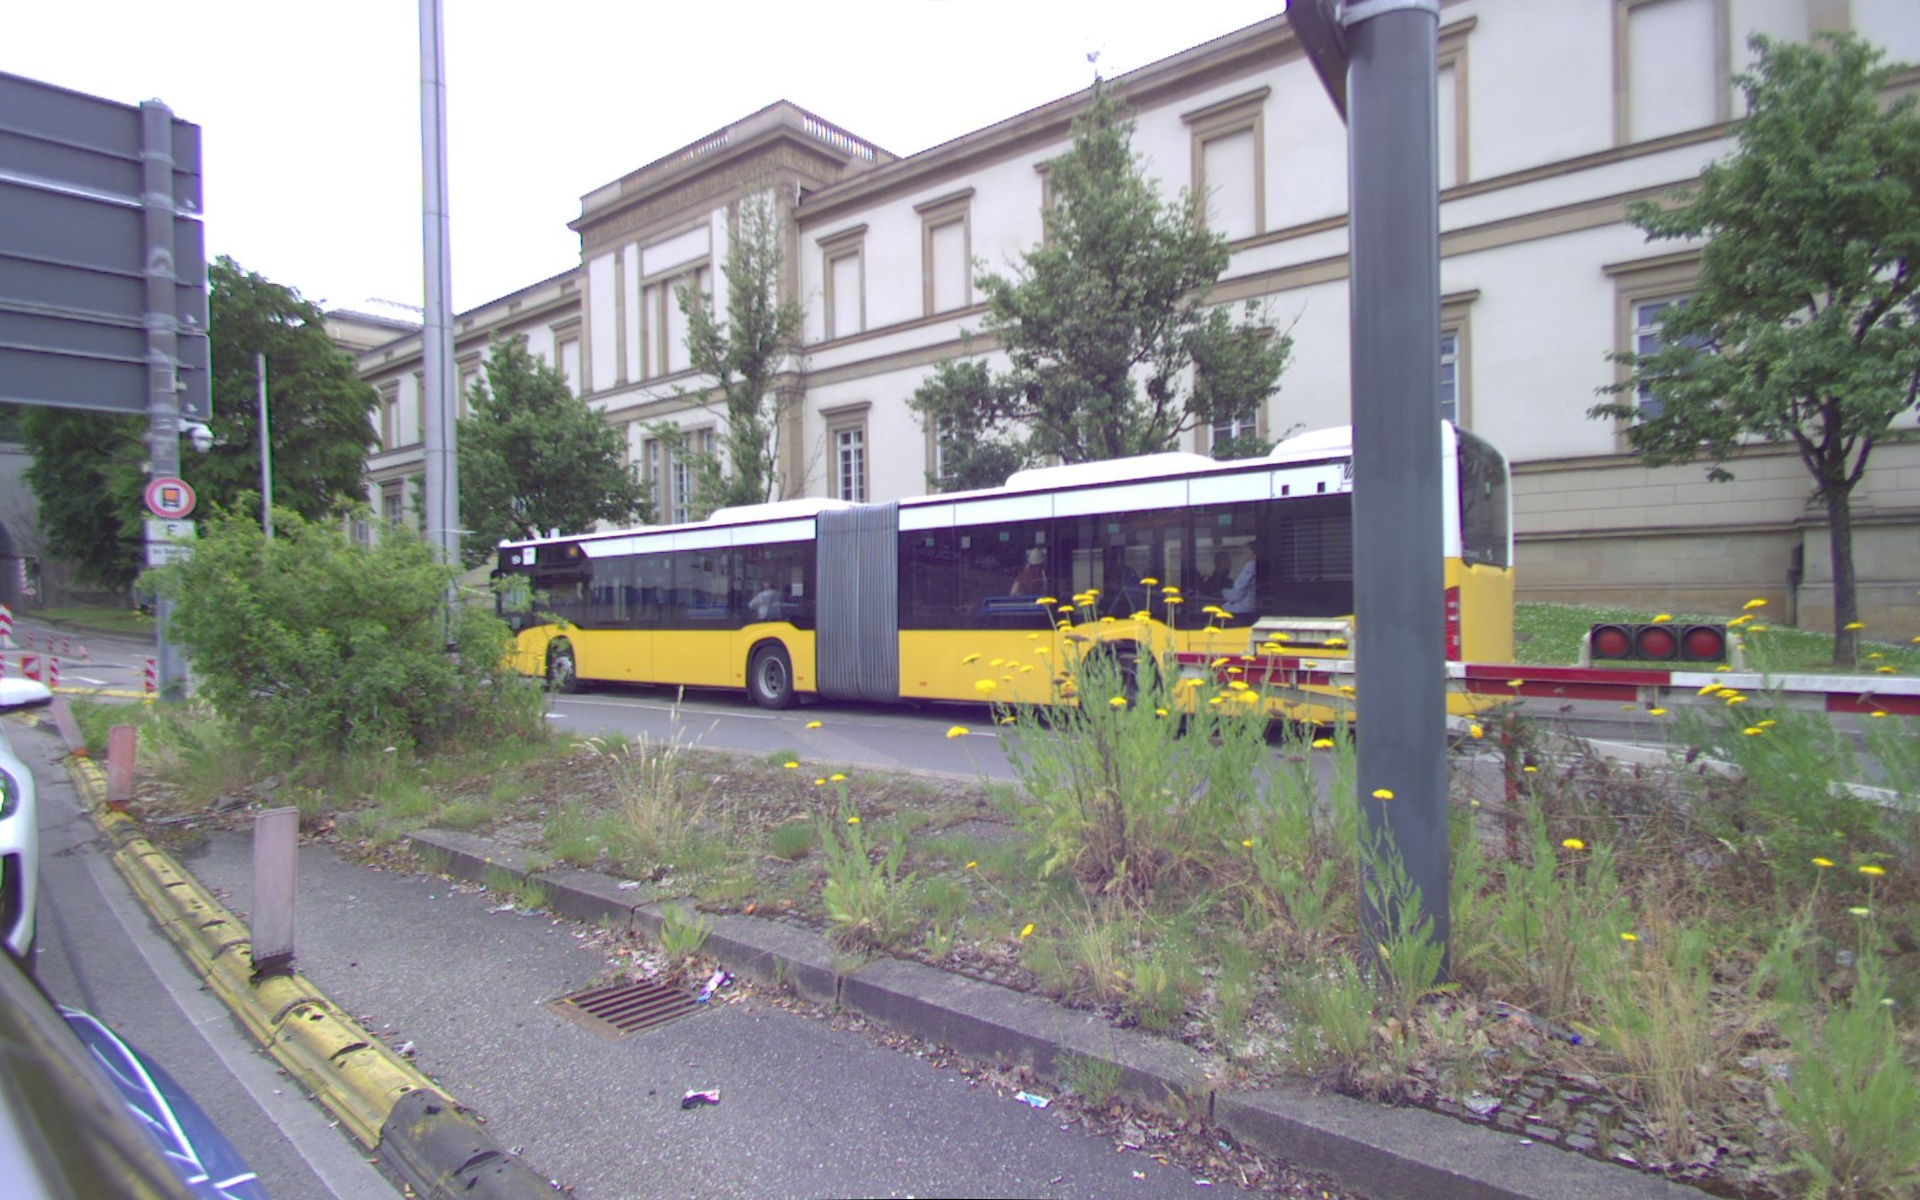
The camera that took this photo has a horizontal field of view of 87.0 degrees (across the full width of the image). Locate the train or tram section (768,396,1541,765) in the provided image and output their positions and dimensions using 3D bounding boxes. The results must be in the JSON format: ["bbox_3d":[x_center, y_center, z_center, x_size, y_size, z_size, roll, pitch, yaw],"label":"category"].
[{"bbox_3d":[1.626,-0.060,12.548,9.330,3.094,2.666,-2,-2,41],"label":"train or tram section"}]

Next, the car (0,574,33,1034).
[{"bbox_3d":[-5.232,0.721,4.205,3.911,1.568,1.733,-1,0,43],"label":"car"}]

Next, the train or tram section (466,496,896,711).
[{"bbox_3d":[-5.518,0.163,18.551,9.366,3.094,2.667,-2,-2,39],"label":"train or tram section"}]
